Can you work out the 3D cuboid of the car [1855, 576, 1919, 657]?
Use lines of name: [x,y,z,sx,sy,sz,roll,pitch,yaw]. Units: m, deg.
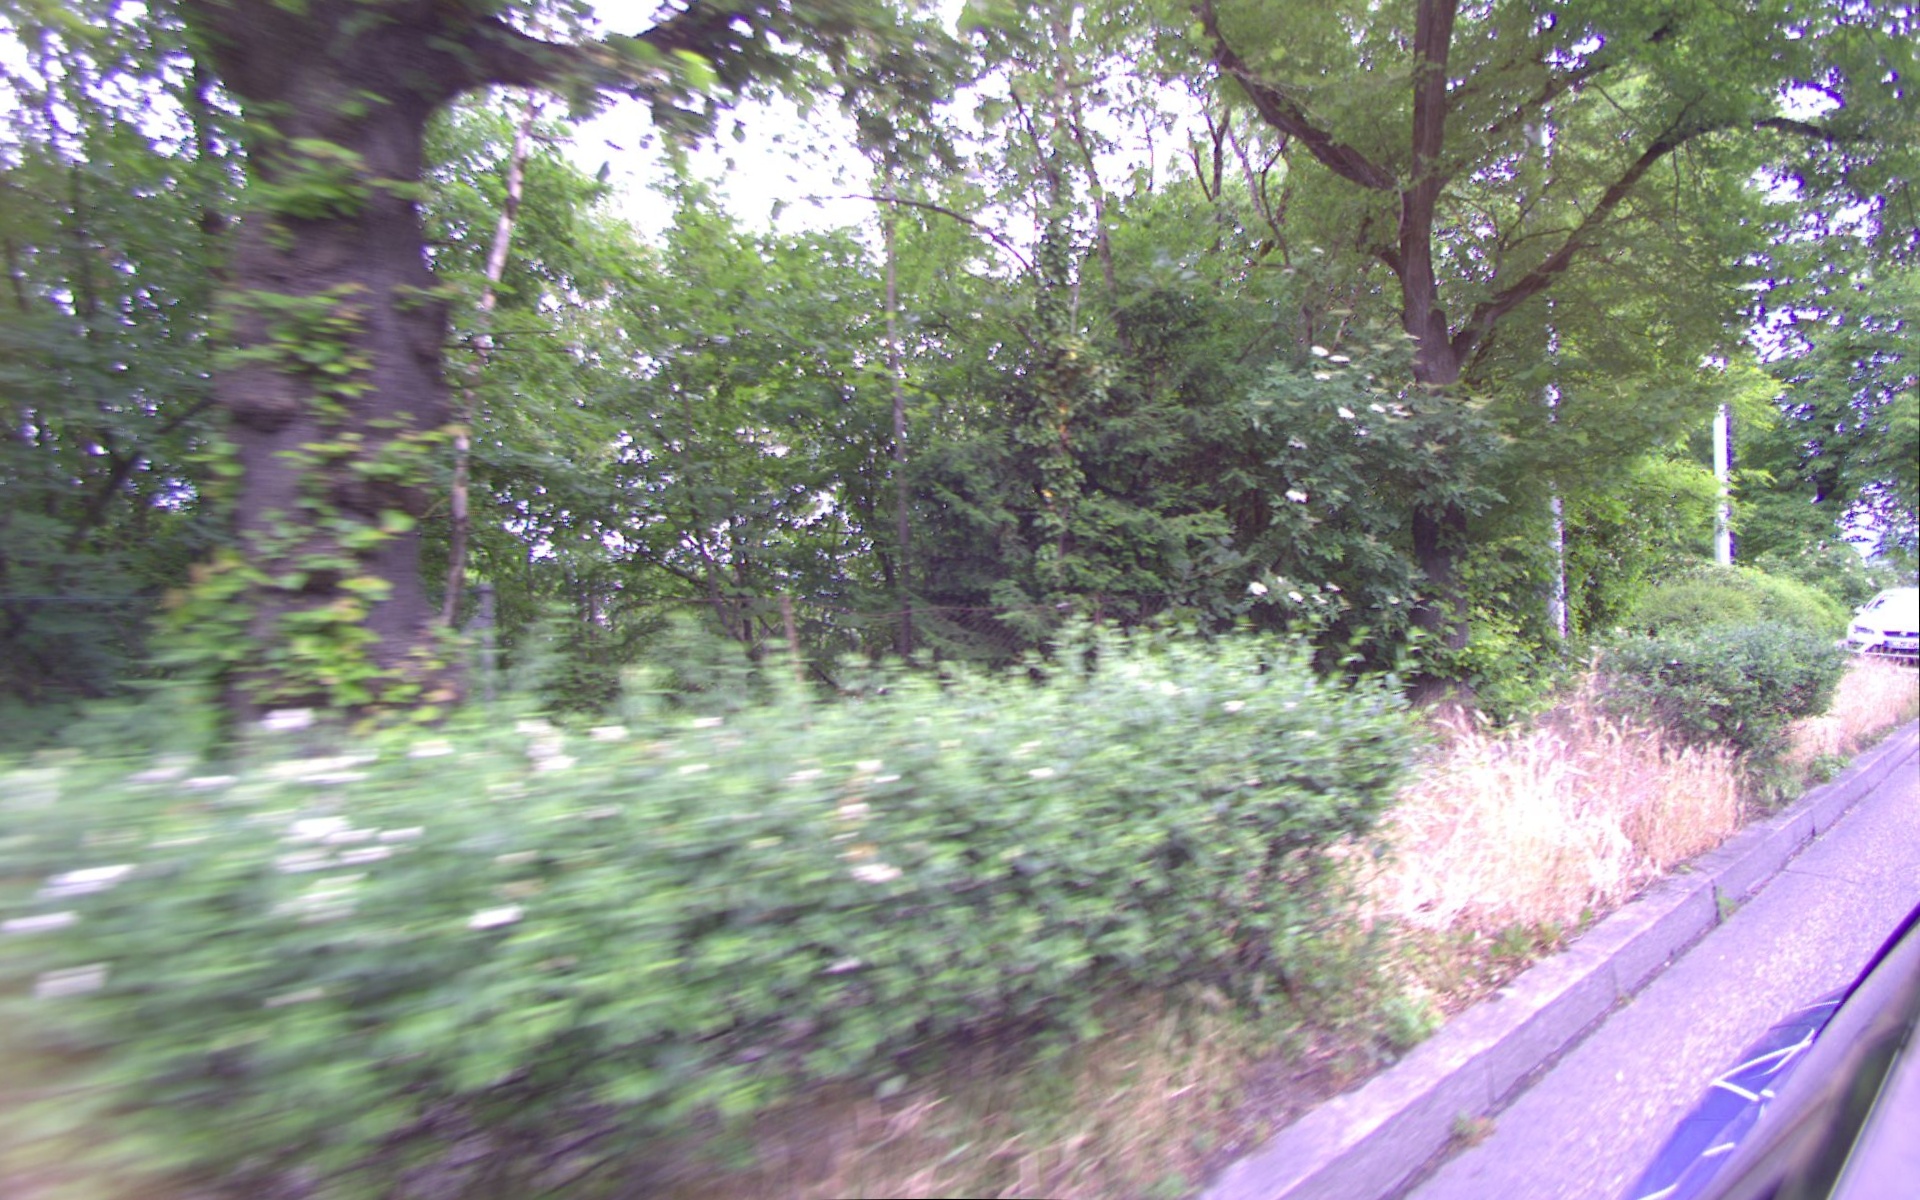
car: [18.951,0.320,19.663,3.823,1.459,1.765,0,3,-40]
